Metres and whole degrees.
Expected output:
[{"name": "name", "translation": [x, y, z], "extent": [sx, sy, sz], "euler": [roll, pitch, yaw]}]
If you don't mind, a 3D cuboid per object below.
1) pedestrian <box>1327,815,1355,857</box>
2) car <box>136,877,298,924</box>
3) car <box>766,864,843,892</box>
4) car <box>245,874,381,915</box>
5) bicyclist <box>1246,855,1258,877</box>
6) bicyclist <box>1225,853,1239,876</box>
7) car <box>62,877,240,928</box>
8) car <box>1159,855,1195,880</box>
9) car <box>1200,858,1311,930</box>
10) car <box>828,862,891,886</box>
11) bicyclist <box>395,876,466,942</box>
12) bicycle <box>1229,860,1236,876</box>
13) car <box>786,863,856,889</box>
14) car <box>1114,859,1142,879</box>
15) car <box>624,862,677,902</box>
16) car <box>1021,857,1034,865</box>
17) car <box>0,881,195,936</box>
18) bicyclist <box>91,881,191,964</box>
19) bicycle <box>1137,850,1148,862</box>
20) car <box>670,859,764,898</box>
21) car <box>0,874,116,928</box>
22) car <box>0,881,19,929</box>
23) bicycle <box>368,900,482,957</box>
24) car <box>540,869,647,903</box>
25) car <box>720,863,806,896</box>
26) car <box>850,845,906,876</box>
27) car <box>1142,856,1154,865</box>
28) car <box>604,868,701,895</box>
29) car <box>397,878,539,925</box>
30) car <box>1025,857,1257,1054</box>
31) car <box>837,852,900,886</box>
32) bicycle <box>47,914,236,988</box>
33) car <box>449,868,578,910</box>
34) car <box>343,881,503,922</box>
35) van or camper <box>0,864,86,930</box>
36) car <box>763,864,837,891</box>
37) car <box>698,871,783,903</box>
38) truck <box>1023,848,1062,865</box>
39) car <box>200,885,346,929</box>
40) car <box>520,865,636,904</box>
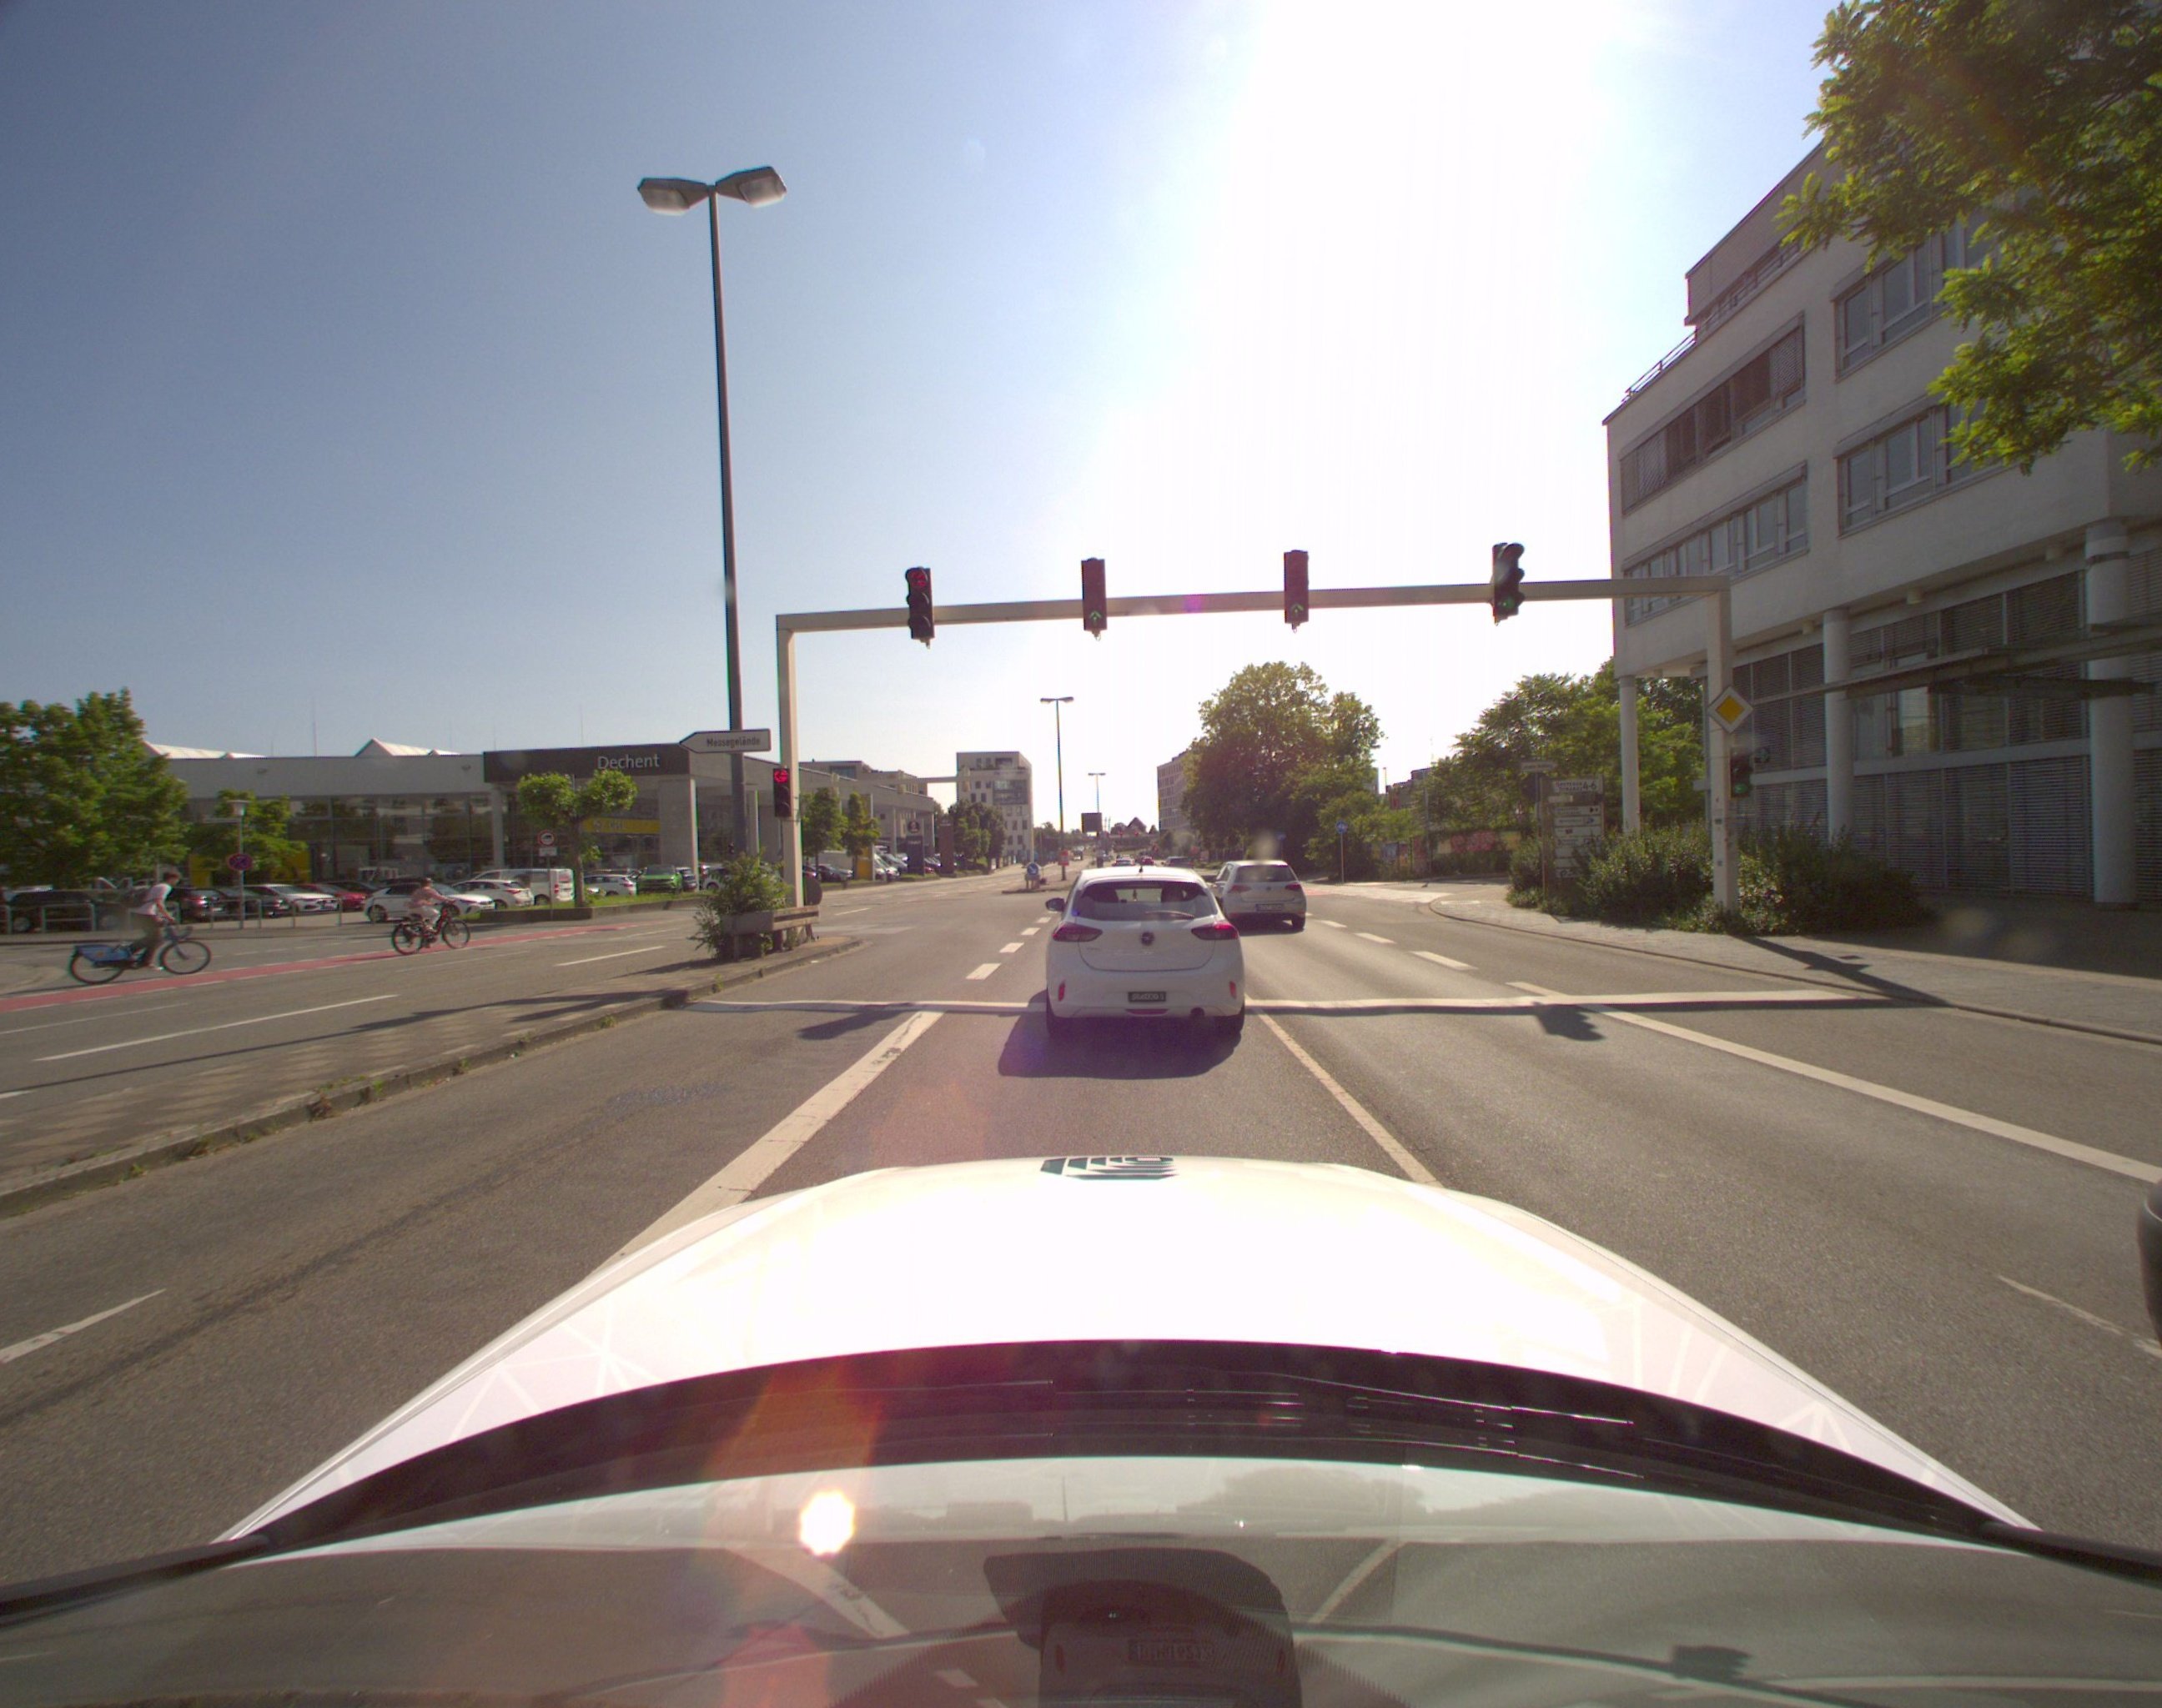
[{"name": "pedestrian", "translation": [12.904, -0.896, 40.441], "extent": [1.023, 2.014, 1.039], "euler": [-2, -1, 2]}, {"name": "car", "translation": [-35.650, 1.895, 33.712], "extent": [4.347, 1.696, 1.998], "euler": [-2, 0, -4]}, {"name": "car", "translation": [-18.282, 1.570, 53.925], "extent": [4.342, 1.696, 2.000], "euler": [-1, -1, 0]}, {"name": "car", "translation": [-36.511, 1.912, 38.826], "extent": [4.351, 1.696, 1.996], "euler": [-2, 0, -6]}, {"name": "bicyclist", "translation": [13.195, 0.923, 62.968], "extent": [0.687, 1.643, 0.775], "euler": [-2, -1, -6]}, {"name": "bicyclist", "translation": [11.818, 0.792, 63.672], "extent": [0.875, 1.772, 0.864], "euler": [-2, -1, 2]}, {"name": "car", "translation": [-35.779, 1.855, 31.444], "extent": [4.347, 1.696, 1.998], "euler": [-2, 0, -4]}, {"name": "car", "translation": [6.385, 0.897, 54.512], "extent": [1.986, 1.551, 4.436], "euler": [-2, 0, 2]}, {"name": "car", "translation": [3.860, 0.841, 18.686], "extent": [1.800, 1.429, 4.002], "euler": [-2, -1, 2]}, {"name": "car", "translation": [-17.653, 1.608, 65.113], "extent": [4.333, 1.696, 2.004], "euler": [-2, 0, 7]}, {"name": "bicyclist", "translation": [-15.176, 1.261, 19.035], "extent": [0.764, 1.460, 1.028], "euler": [-2, -1, 3]}, {"name": "bicycle", "translation": [11.853, 1.074, 63.681], "extent": [0.371, 1.216, 1.154], "euler": [0, -1, 3]}, {"name": "car", "translation": [-18.917, 1.606, 59.413], "extent": [4.343, 1.696, 2.000], "euler": [-2, 0, -1]}, {"name": "car", "translation": [3.672, 1.165, 64.428], "extent": [1.987, 1.447, 4.371], "euler": [-1, -1, 1]}, {"name": "car", "translation": [-20.751, 1.363, 39.203], "extent": [1.914, 1.733, 3.259], "euler": [-2, -2, -34]}, {"name": "car", "translation": [-9.369, 1.295, 141.765], "extent": [1.799, 1.386, 4.002], "euler": [0, -1, 2]}, {"name": "car", "translation": [-34.835, 1.897, 28.904], "extent": [4.347, 1.696, 1.998], "euler": [-2, 0, -4]}, {"name": "bicyclist", "translation": [-17.534, 1.254, 15.202], "extent": [0.761, 1.460, 1.033], "euler": [-2, -1, 25]}, {"name": "bicycle", "translation": [11.669, 0.435, 154.465], "extent": [1.986, 2.157, 4.002], "euler": [-2, 0, 2]}, {"name": "car", "translation": [-18.719, 1.255, 41.998], "extent": [3.858, 1.838, 2.000], "euler": [-2, 0, -1]}, {"name": "car", "translation": [-42.738, 1.909, 33.242], "extent": [3.983, 2.014, 1.995], "euler": [-2, -1, -7]}, {"name": "car", "translation": [-40.252, 1.875, 27.840], "extent": [4.370, 1.696, 1.987], "euler": [-2, -1, -19]}, {"name": "bicycle", "translation": [-15.199, 1.691, 18.954], "extent": [0.764, 1.116, 2.164], "euler": [-2, 0, 4]}, {"name": "car", "translation": [-25.605, 1.651, 42.898], "extent": [4.350, 1.591, 1.996], "euler": [-2, 0, -6]}, {"name": "car", "translation": [-18.982, 1.513, 48.807], "extent": [4.283, 1.765, 2.000], "euler": [-2, 0, -1]}, {"name": "car", "translation": [-18.138, 0.576, 72.913], "extent": [4.333, 2.601, 2.004], "euler": [-2, -1, 7]}, {"name": "car", "translation": [11.016, 1.090, 134.095], "extent": [1.799, 1.386, 4.002], "euler": [0, -1, 2]}, {"name": "car", "translation": [-24.109, 1.546, 45.973], "extent": [4.351, 1.268, 1.996], "euler": [-3, -2, -6]}, {"name": "car", "translation": [-25.752, 1.967, 34.356], "extent": [4.347, 1.696, 1.998], "euler": [-2, 0, -4]}, {"name": "car", "translation": [0.550, 0.805, 8.368], "extent": [1.772, 1.494, 4.002], "euler": [-2, 0, 2]}, {"name": "car", "translation": [-17.586, 1.220, 67.566], "extent": [4.468, 2.684, 2.135], "euler": [-2, -1, 11]}, {"name": "bicycle", "translation": [-17.485, 1.762, 15.245], "extent": [0.761, 1.116, 2.174], "euler": [-2, 0, 25]}, {"name": "car", "translation": [-26.031, 1.570, 37.502], "extent": [4.352, 1.696, 1.996], "euler": [-2, 0, -7]}, {"name": "car", "translation": [-25.077, 1.779, 31.167], "extent": [4.347, 1.300, 1.998], "euler": [-2, 0, -4]}, {"name": "van or camper", "translation": [-41.555, 1.650, 30.868], "extent": [4.710, 2.400, 1.995], "euler": [-2, -1, -7]}, {"name": "car", "translation": [-19.338, 1.611, 56.189], "extent": [4.343, 1.696, 2.000], "euler": [-2, 0, -1]}, {"name": "car", "translation": [-19.200, 1.823, 46.080], "extent": [3.980, 1.599, 1.997], "euler": [-2, 0, -5]}, {"name": "truck", "translation": [-9.411, 0.641, 198.897], "extent": [9.051, 3.834, 3.074], "euler": [-2, 0, -7]}, {"name": "car", "translation": [-36.101, 2.326, 36.471], "extent": [4.347, 1.696, 1.998], "euler": [-2, 0, -4]}, {"name": "car", "translation": [-24.602, 1.469, 39.995], "extent": [4.352, 1.696, 1.996], "euler": [-2, 0, -7]}]
